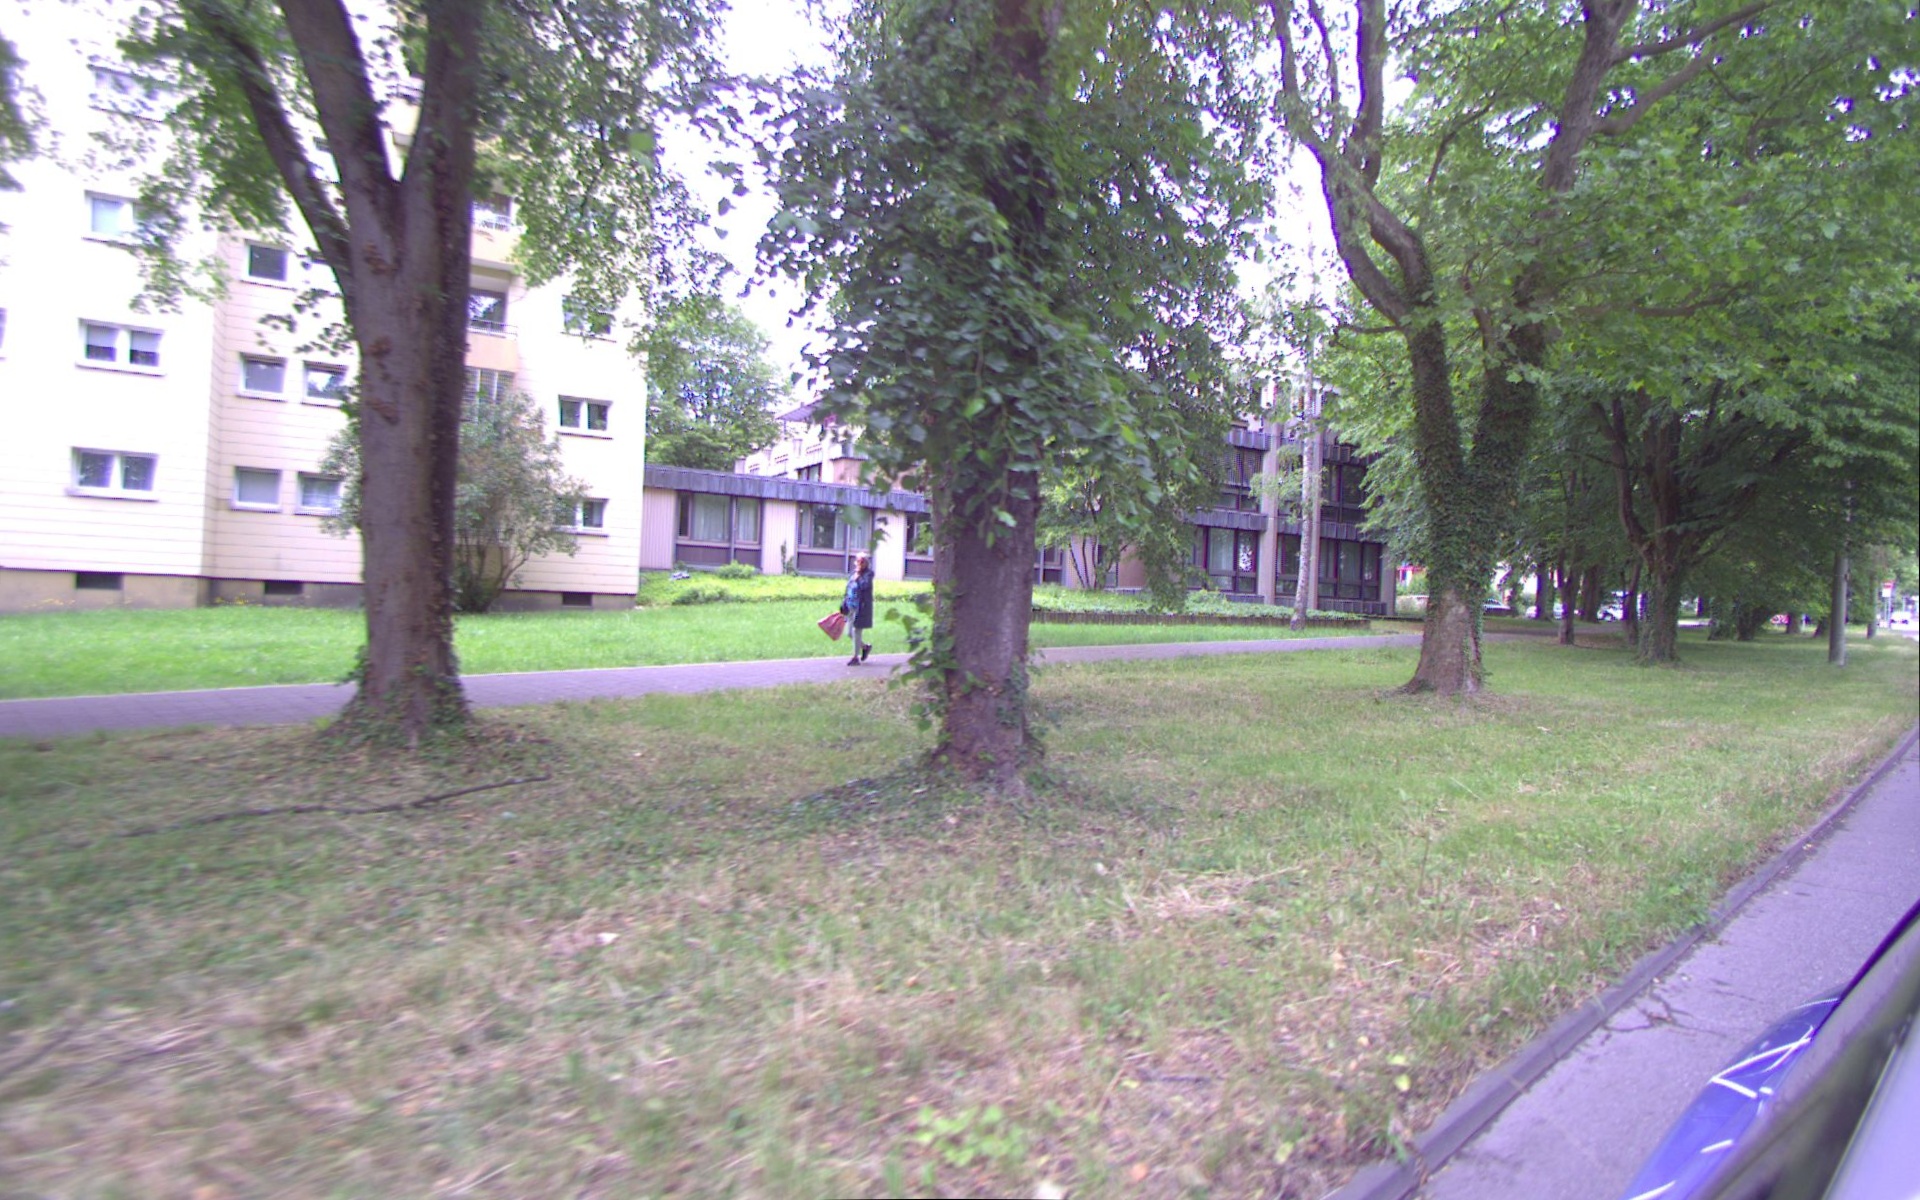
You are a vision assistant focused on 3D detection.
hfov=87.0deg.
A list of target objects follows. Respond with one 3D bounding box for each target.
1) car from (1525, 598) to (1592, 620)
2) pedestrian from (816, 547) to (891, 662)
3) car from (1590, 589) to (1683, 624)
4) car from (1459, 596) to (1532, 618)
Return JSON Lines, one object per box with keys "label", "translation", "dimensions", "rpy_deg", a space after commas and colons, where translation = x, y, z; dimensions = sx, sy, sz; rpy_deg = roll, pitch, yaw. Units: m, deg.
{"label": "car", "translation": [45.208, 0.689, 76.493], "dimensions": [3.928, 1.529, 1.798], "rpy_deg": [2, 0, 4]}
{"label": "pedestrian", "translation": [-1.651, 0.054, 15.632], "dimensions": [0.768, 1.707, 0.801], "rpy_deg": [3, 2, 45]}
{"label": "car", "translation": [50.715, 0.469, 76.016], "dimensions": [5.242, 2.328, 2.285], "rpy_deg": [2, 0, 11]}
{"label": "car", "translation": [40.510, 0.515, 76.555], "dimensions": [4.515, 1.529, 1.801], "rpy_deg": [2, 0, -1]}
